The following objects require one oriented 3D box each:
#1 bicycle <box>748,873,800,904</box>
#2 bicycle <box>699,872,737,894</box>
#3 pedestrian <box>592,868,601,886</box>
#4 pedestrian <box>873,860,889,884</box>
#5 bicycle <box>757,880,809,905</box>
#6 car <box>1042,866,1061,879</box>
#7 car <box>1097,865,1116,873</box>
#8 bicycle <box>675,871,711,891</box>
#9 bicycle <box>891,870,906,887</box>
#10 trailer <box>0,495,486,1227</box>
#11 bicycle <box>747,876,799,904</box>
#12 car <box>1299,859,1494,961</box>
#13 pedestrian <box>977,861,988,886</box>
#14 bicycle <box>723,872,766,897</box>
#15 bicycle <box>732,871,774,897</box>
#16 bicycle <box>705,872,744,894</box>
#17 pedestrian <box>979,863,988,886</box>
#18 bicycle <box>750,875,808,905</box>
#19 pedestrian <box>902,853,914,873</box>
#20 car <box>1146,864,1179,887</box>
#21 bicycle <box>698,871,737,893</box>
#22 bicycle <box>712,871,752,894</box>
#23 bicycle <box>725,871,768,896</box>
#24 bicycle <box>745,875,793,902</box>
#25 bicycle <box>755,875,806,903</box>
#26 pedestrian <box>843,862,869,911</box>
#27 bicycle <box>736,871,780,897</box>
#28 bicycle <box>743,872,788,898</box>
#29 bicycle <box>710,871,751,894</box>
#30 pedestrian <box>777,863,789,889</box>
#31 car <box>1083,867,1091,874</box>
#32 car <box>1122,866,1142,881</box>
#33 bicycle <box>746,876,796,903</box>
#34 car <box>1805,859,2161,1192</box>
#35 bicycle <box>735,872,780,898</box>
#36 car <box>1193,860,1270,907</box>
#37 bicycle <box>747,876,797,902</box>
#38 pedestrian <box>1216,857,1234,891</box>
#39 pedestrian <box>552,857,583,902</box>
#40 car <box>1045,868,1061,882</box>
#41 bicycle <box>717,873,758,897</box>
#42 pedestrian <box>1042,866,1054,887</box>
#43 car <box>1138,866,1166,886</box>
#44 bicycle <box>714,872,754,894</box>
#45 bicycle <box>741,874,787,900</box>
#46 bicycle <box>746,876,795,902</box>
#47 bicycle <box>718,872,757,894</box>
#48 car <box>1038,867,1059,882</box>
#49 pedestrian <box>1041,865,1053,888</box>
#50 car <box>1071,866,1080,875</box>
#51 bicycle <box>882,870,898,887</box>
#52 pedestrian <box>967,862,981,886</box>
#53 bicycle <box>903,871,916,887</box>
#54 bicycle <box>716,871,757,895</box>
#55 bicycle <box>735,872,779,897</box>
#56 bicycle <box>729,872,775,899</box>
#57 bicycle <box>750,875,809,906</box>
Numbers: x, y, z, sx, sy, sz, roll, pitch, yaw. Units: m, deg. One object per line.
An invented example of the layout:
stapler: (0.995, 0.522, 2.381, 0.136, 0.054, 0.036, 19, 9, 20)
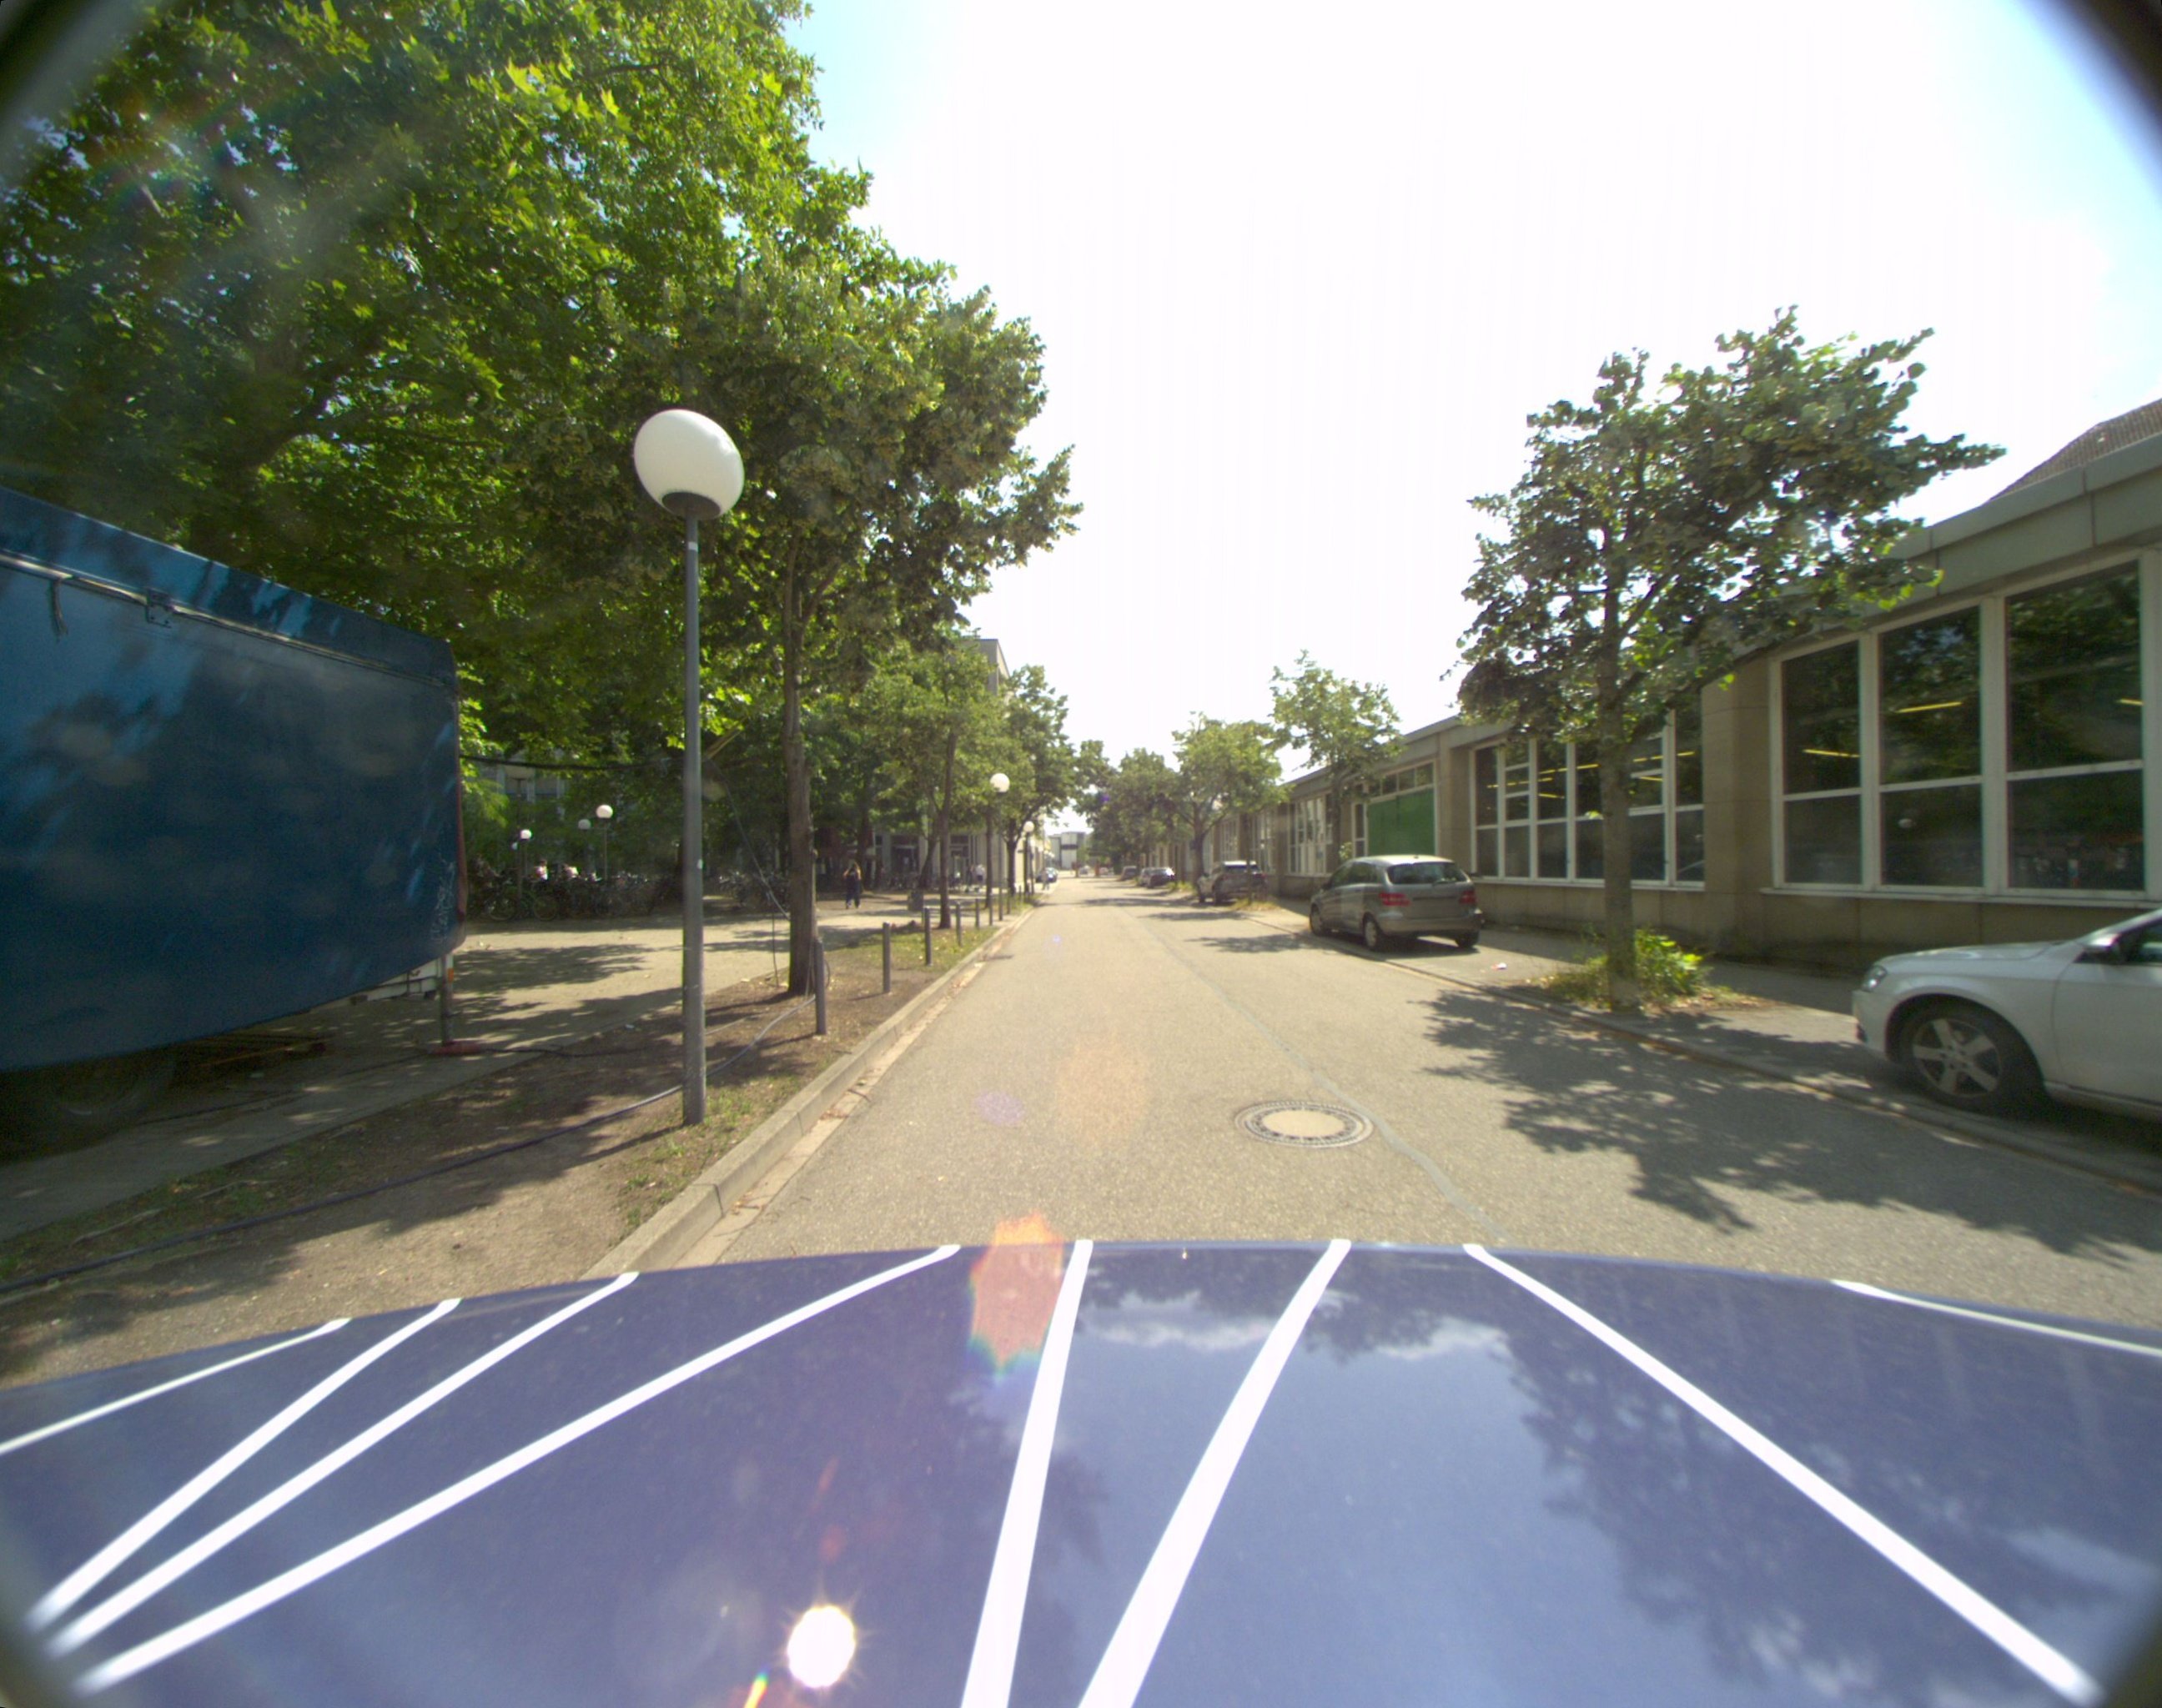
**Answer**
bicycle: (-11.395, 1.268, 28.246, 1.742, 1.148, 0.493, 1, -1, -37)
bicycle: (-20.041, 1.605, 41.983, 1.849, 1.163, 0.412, 1, -1, -39)
pedestrian: (-33.038, 1.549, 51.815, 0.402, 1.205, 0.387, 0, -1, 8)
pedestrian: (-14.121, 1.264, 53.785, 0.937, 1.730, 0.749, -1, 0, -3)
bicycle: (-10.941, 1.399, 27.930, 1.741, 0.904, 0.493, 1, -1, -29)
car: (-3.136, 2.003, 82.089, 1.843, 1.389, 3.879, 1, -2, 0)
car: (5.013, 3.013, 151.028, 3.674, 1.440, 1.804, -3, -1, -2)
bicycle: (-22.655, 1.583, 44.362, 0.345, 1.163, 1.849, -1, -1, 45)
bicycle: (-12.103, 1.648, 50.360, 0.481, 1.079, 1.516, 1, -2, 5)
trailer: (-5.818, 0.010, 2.597, 2.699, 3.033, 6.257, 1, -1, -1)
bicycle: (-11.891, 1.375, 29.341, 1.800, 1.022, 0.439, 1, -1, -32)
car: (5.624, 0.916, 14.167, 1.762, 1.547, 4.113, -2, 0, -2)
pedestrian: (-7.434, 1.466, 57.381, 0.687, 1.880, 0.686, -1, 1, -3)
bicycle: (-16.333, 1.475, 36.907, 1.849, 1.163, 0.344, 1, -1, -37)
bicycle: (-15.531, 1.410, 36.024, 0.344, 1.163, 1.849, -1, -1, 42)
bicycle: (-19.178, 1.537, 40.913, 1.849, 1.163, 0.412, 1, -1, -39)
pedestrian: (-7.459, 1.582, 58.370, 0.614, 1.719, 0.542, 0, 0, 1)
bicycle: (-10.760, 1.273, 27.122, 1.916, 1.053, 0.325, 0, -1, -23)
pedestrian: (-15.684, 0.837, 68.811, 0.618, 1.786, 0.811, 0, 0, 32)
car: (5.664, 1.513, 53.288, 1.730, 1.426, 4.290, -2, -1, -1)
bicycle: (-19.765, 1.490, 41.310, 1.849, 1.163, 0.412, 1, -1, -39)
bicycle: (-17.740, 1.448, 38.635, 1.849, 1.163, 0.352, 1, -1, -37)
bicycle: (-16.127, 1.410, 36.630, 1.849, 1.163, 0.344, 1, -1, -37)
bicycle: (-13.034, 1.434, 31.756, 1.796, 1.063, 0.425, 1, -1, -30)
bicycle: (-11.482, 1.337, 29.042, 1.742, 1.046, 0.493, 1, -1, -37)
pedestrian: (-7.574, 1.072, 25.615, 0.570, 1.563, 0.927, 1, 3, 0)
bicycle: (-14.869, 1.385, 34.980, 1.849, 1.163, 0.344, 1, -1, -34)
bicycle: (-14.187, 1.373, 34.206, 1.796, 1.163, 0.401, 1, -1, -34)
bicycle: (-17.956, 1.447, 38.919, 1.849, 1.163, 0.352, 1, -1, -37)
pedestrian: (-19.778, 1.428, 50.415, 0.428, 1.692, 0.944, -2, -1, -5)
car: (1.350, 3.741, 171.371, 1.803, 1.440, 3.676, -3, -1, -1)
car: (5.429, 2.031, 81.013, 1.803, 1.440, 3.676, -3, -1, -1)
bicycle: (-12.292, 1.406, 30.159, 1.796, 1.022, 0.381, 1, -1, -32)
car: (5.769, 0.768, 2.783, 1.730, 1.448, 4.583, -2, 0, -2)
bicycle: (-14.745, 1.397, 34.615, 1.849, 1.163, 0.401, 1, -1, -34)
car: (5.770, 1.091, 29.687, 1.827, 1.622, 4.516, -2, 0, -3)
bicycle: (-12.397, 1.403, 30.515, 1.796, 1.022, 0.381, 1, -1, -32)
pedestrian: (7.859, 1.092, 41.427, 0.790, 1.776, 0.670, -2, -1, 3)
pedestrian: (-20.613, 1.014, 30.531, 0.744, 1.764, 0.721, 0, -1, -3)
car: (-3.502, 2.698, 96.951, 1.799, 1.691, 4.001, 2, -2, 0)
bicycle: (-17.048, 1.507, 37.720, 1.849, 1.163, 0.352, 1, -1, -37)
pedestrian: (-2.431, 1.643, 55.726, 0.797, 1.532, 0.663, 0, 0, -8)
car: (5.469, 1.693, 58.959, 1.634, 1.440, 3.753, -3, -1, -1)
bicycle: (-18.179, 1.515, 39.854, 1.849, 1.163, 0.352, 1, -1, -37)
bicycle: (-13.510, 1.409, 32.404, 1.796, 1.063, 0.425, 1, -1, -28)
bicycle: (-12.815, 1.433, 31.375, 1.796, 1.063, 0.425, 1, -1, -30)
bicycle: (-18.227, 1.523, 40.298, 1.849, 1.163, 0.387, 1, -1, -37)
car: (-3.246, 2.041, 76.257, 1.843, 1.389, 3.879, 1, -2, 0)
pedestrian: (-2.513, 1.646, 56.418, 0.797, 1.718, 0.601, 0, 0, -8)
car: (-1.286, 4.040, 181.745, 1.998, 2.001, 4.001, 2, -2, 0)
bicycle: (-12.595, 1.619, 50.072, 0.481, 1.079, 1.698, 1, -2, 5)
pedestrian: (-8.212, 1.545, 58.363, 0.811, 1.786, 0.618, 0, 0, -44)
bicycle: (-11.342, 1.651, 50.240, 0.460, 1.079, 1.474, 1, -2, 1)
bicycle: (-17.247, 1.452, 38.053, 1.849, 1.163, 0.352, 1, -1, -37)
bicycle: (-15.052, 1.410, 35.282, 1.849, 1.163, 0.344, 1, -1, -34)
bicycle: (-14.491, 1.365, 33.510, 1.796, 1.163, 0.401, 1, -1, -34)
bicycle: (-10.649, 1.270, 26.833, 1.916, 1.053, 0.325, 0, -1, -23)
